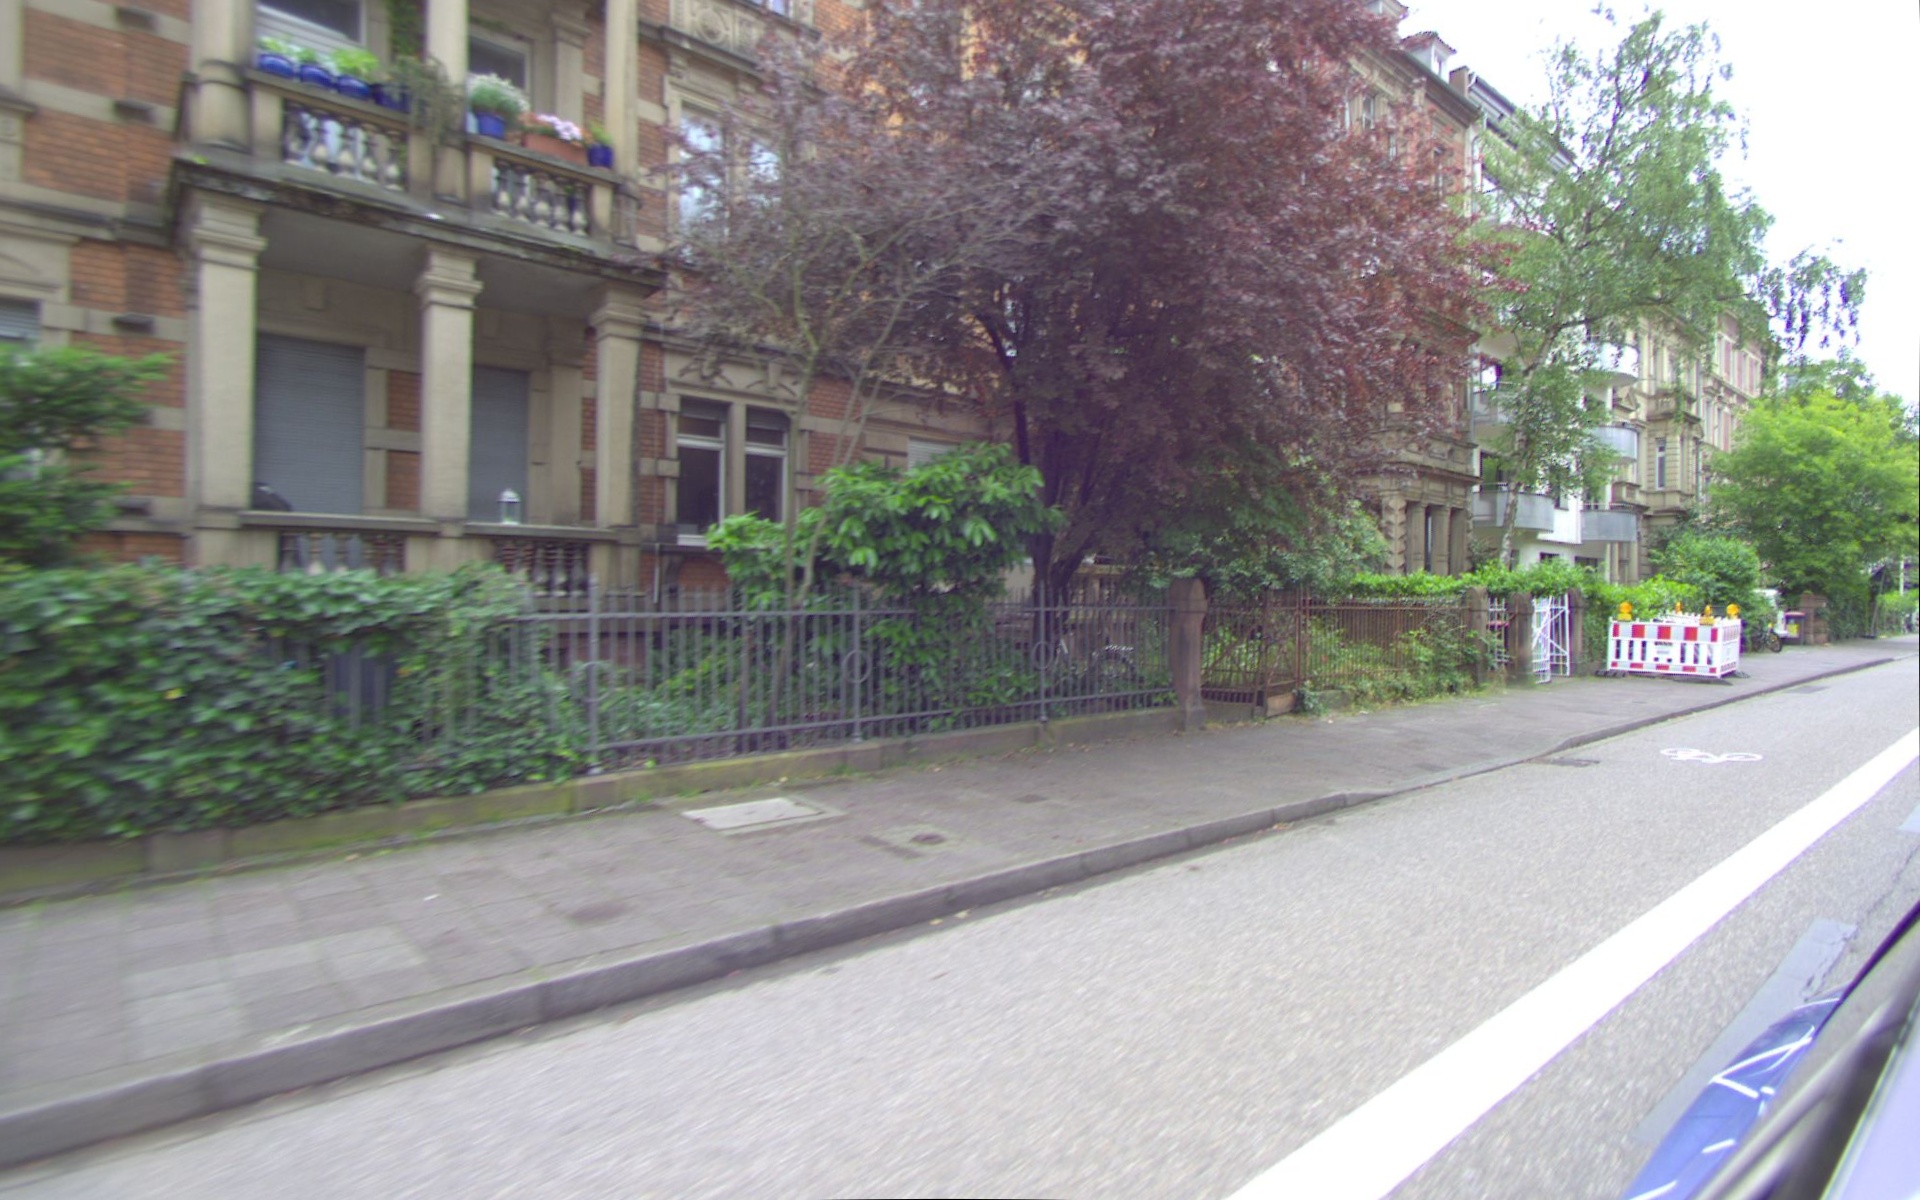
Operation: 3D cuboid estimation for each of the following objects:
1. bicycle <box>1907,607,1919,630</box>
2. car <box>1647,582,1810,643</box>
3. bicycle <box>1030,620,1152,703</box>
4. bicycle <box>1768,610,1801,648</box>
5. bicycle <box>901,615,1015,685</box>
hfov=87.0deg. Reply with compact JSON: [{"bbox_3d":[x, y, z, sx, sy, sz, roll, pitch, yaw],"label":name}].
[{"bbox_3d":[44.457,0.845,47.178,1.816,1.055,0.302,0,0,-41],"label":"bicycle"},{"bbox_3d":[25.341,0.365,33.463,1.777,1.881,3.995,0,1,-40],"label":"car"},{"bbox_3d":[1.548,0.705,12.207,0.544,0.874,1.623,0,1,-33],"label":"bicycle"},{"bbox_3d":[23.375,0.809,28.675,1.504,1.058,0.480,0,0,-41],"label":"bicycle"},{"bbox_3d":[-0.038,0.667,13.989,1.529,0.902,0.566,0,0,32],"label":"bicycle"}]
